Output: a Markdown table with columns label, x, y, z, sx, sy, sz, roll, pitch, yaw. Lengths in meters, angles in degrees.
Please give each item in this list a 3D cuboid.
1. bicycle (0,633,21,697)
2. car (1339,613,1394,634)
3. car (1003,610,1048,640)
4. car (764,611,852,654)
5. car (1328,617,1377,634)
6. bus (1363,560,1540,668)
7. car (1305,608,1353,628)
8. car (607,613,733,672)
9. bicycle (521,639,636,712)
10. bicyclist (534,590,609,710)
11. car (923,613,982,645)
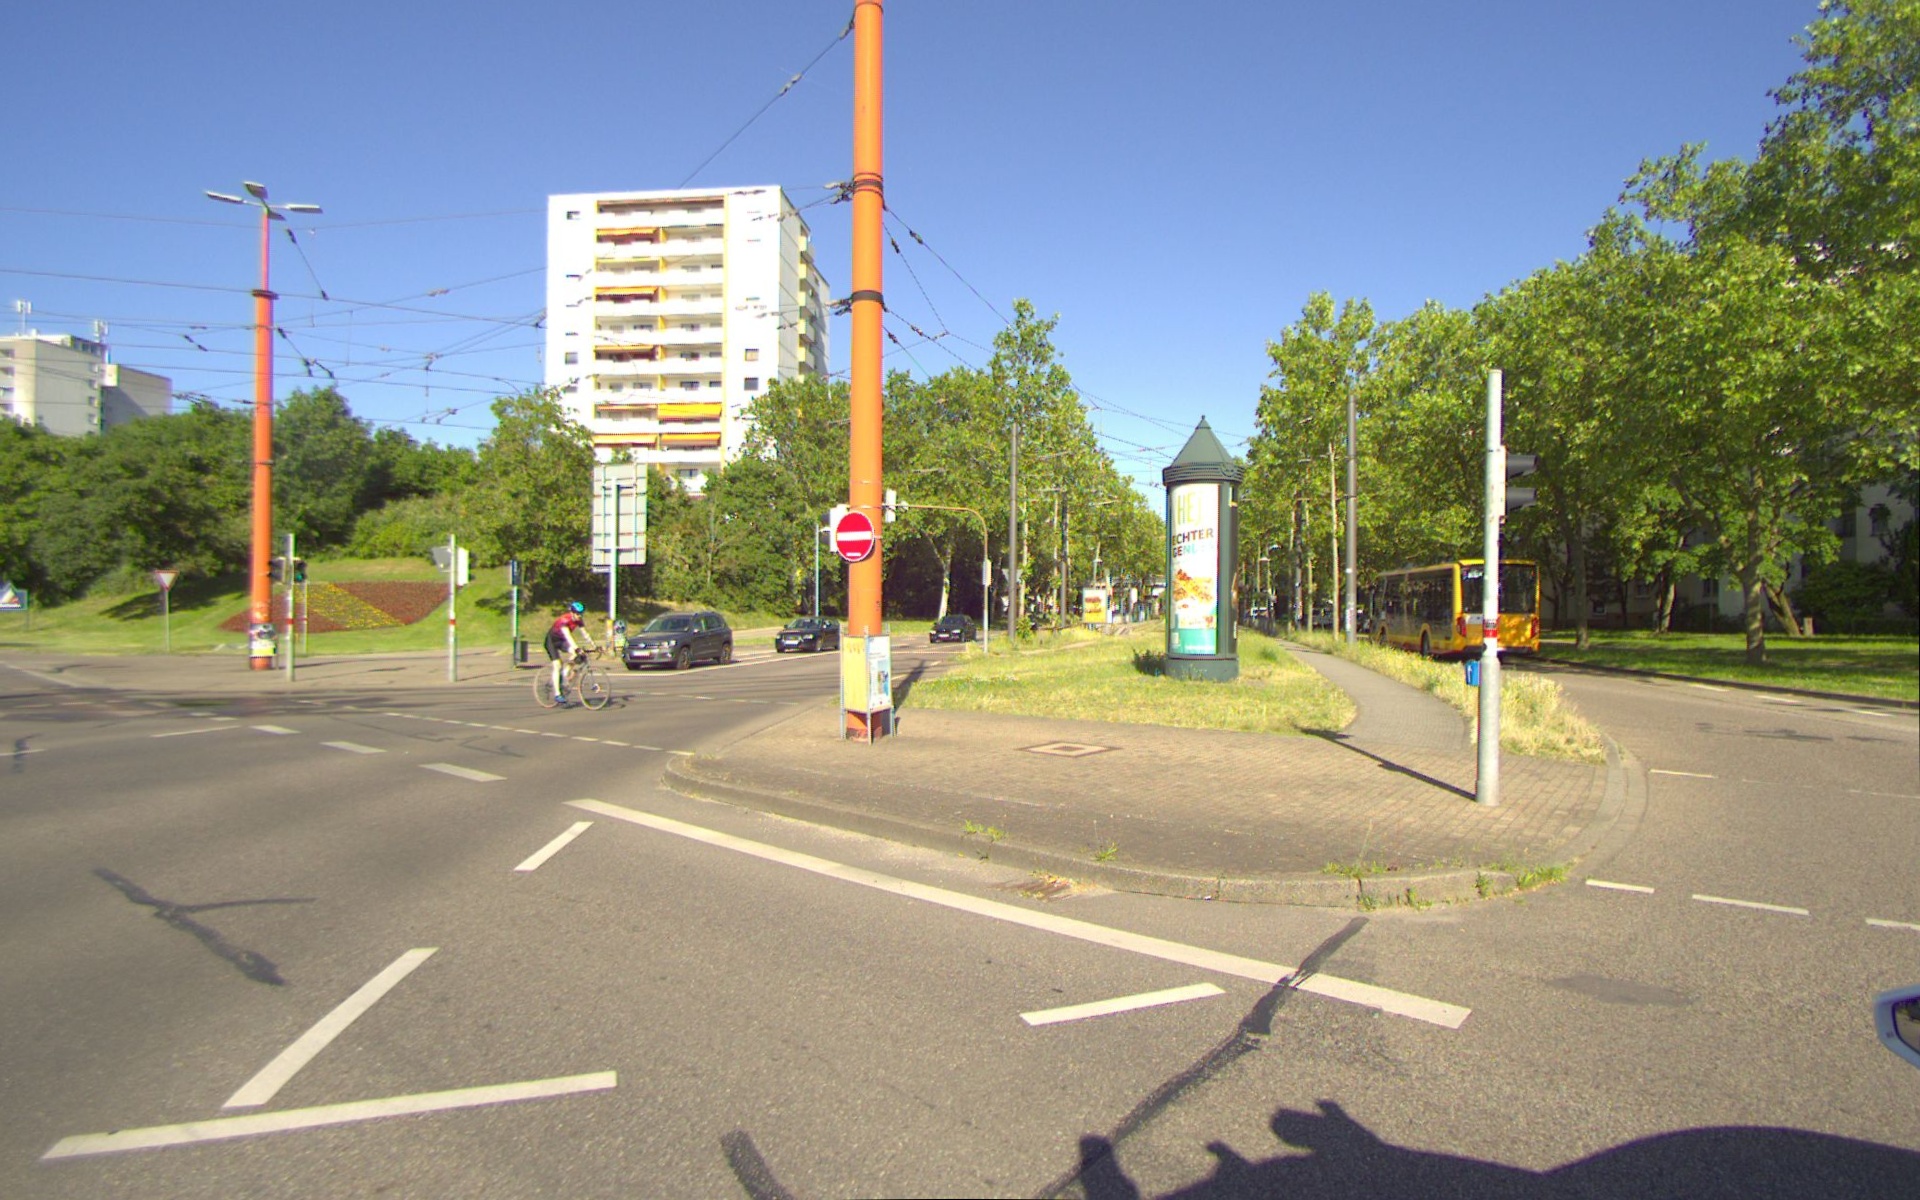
| label | x | y | z | sx | sy | sz | roll | pitch | yaw |
| --- | --- | --- | --- | --- | --- | --- | --- | --- | --- |
| bicycle | -17.641 | 1.164 | 17.482 | 0.725 | 1.146 | 1.917 | 0 | -1 | 3 |
| car | 30.876 | 1.795 | 76.347 | 1.602 | 1.480 | 3.606 | 0 | 1 | -40 |
| car | 4.312 | 1.592 | 65.812 | 1.823 | 1.825 | 3.999 | 0 | 1 | 21 |
| car | -5.977 | 1.251 | 39.956 | 1.880 | 1.516 | 4.000 | 0 | 1 | 18 |
| car | 31.372 | 2.017 | 80.231 | 1.437 | 1.204 | 3.375 | 0 | 1 | -43 |
| bus | 17.710 | 0.372 | 37.341 | 2.600 | 3.305 | 12.542 | 0 | 1 | 10 |
| car | 38.432 | 1.874 | 104.628 | 1.925 | 2.010 | 4.291 | 1 | -1 | -40 |
| car | -8.470 | 1.194 | 29.755 | 1.879 | 1.516 | 4.047 | 0 | 1 | 13 |
| bicycle | -6.386 | 1.239 | 16.794 | 1.880 | 1.086 | 0.691 | 0 | 1 | 25 |
| bicyclist | -6.502 | 0.803 | 16.816 | 0.972 | 1.938 | 0.686 | 1 | 1 | 26 |
| car | -0.346 | 1.494 | 52.707 | 1.880 | 1.516 | 4.000 | 0 | 1 | 18 |
